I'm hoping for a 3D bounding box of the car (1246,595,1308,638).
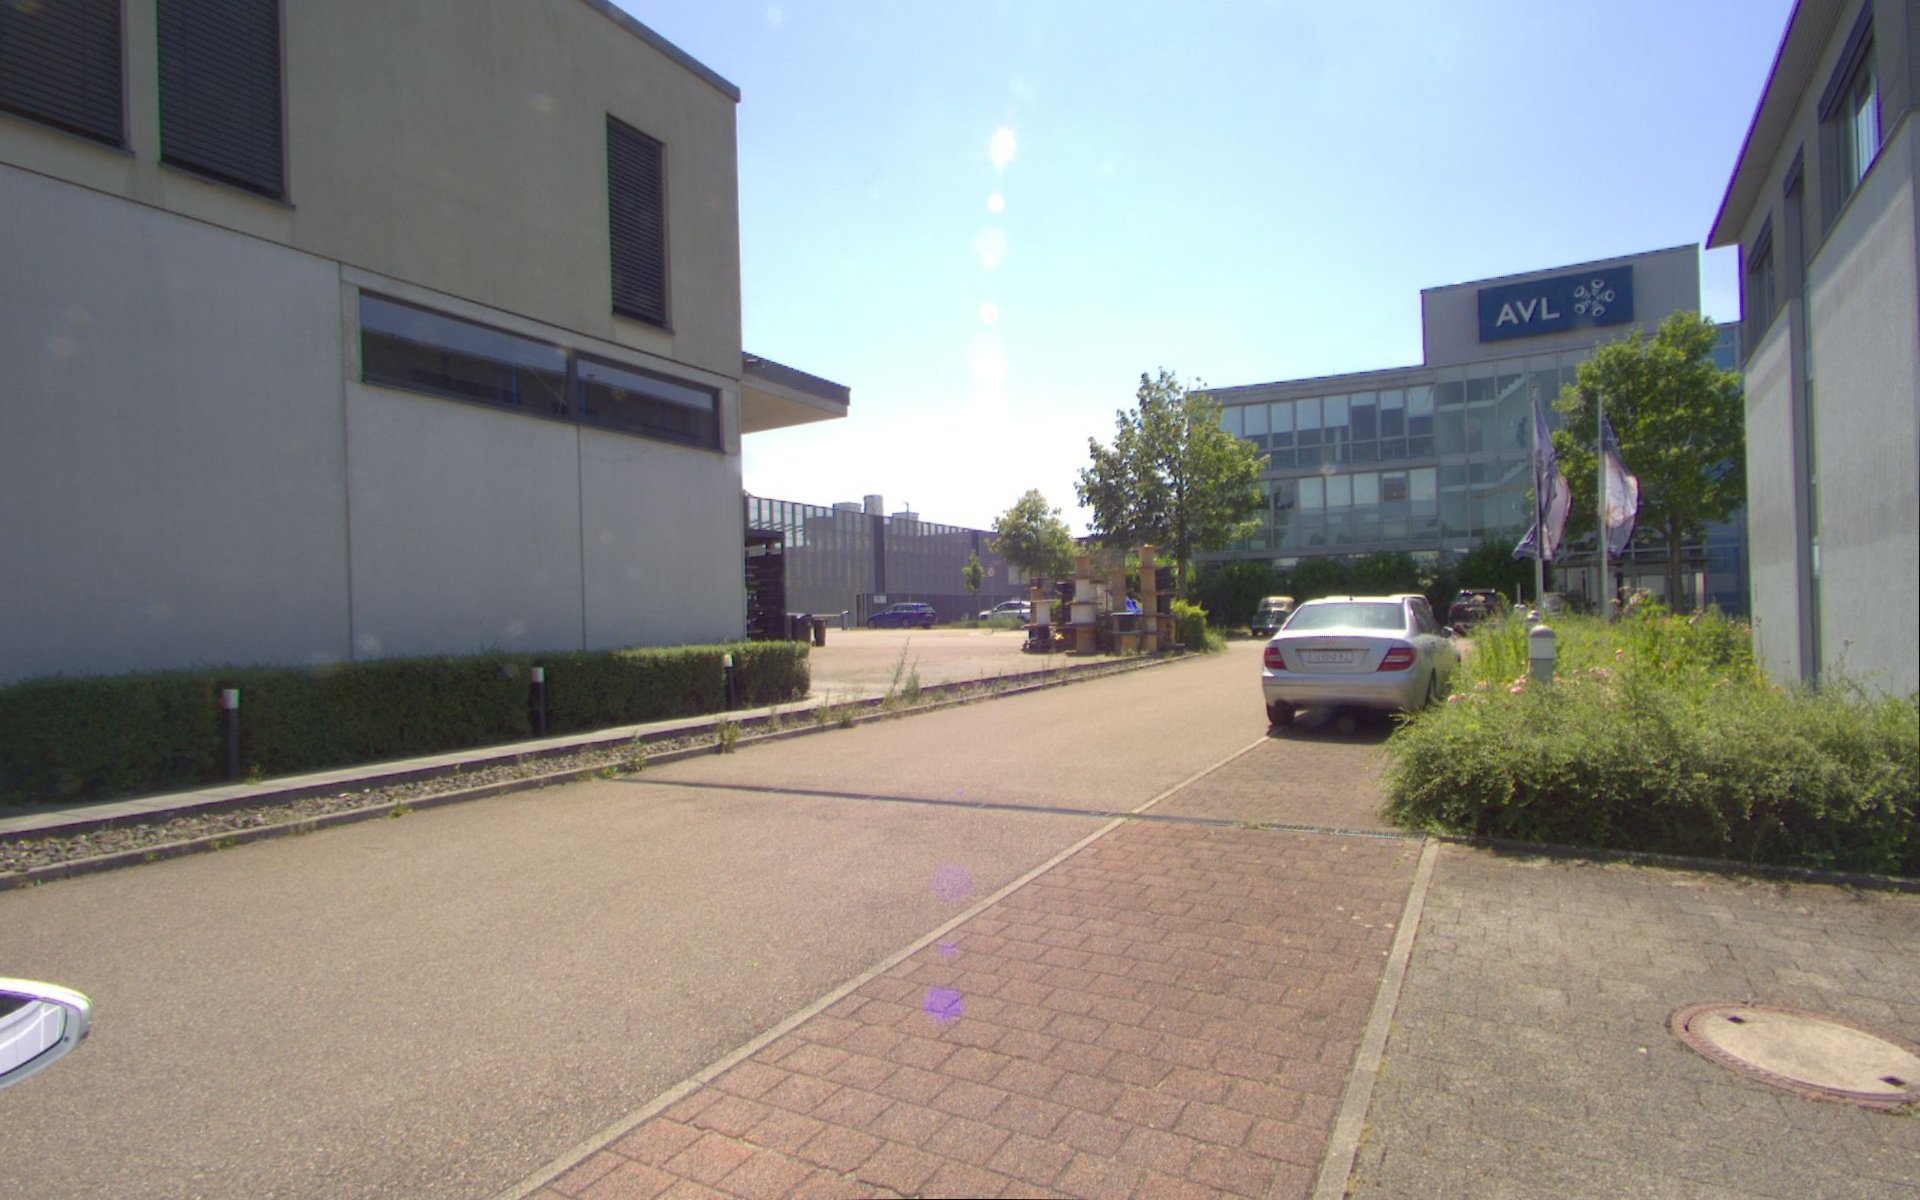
[{"bbox_3d":[12.261,0.643,38.617,1.722,1.538,3.986,-1,-1,26],"label":"car"}]

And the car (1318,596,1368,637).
[{"bbox_3d":[14.438,0.627,37.681,1.646,1.459,3.991,-1,-1,22],"label":"car"}]

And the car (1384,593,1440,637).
[{"bbox_3d":[16.691,0.575,37.120,1.720,1.538,3.991,-1,-1,22],"label":"car"}]

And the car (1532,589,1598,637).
[{"bbox_3d":[20.570,0.471,34.167,1.723,1.538,3.984,-1,-1,29],"label":"car"}]

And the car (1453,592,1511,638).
[{"bbox_3d":[18.562,0.536,35.583,1.723,1.538,3.984,-1,-1,29],"label":"car"}]

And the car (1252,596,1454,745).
[{"bbox_3d":[4.759,0.728,11.837,1.704,1.455,3.700,-1,-1,30],"label":"car"}]

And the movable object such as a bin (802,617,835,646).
[{"bbox_3d":[-4.809,1.070,34.091,0.805,0.993,0.807,-1,-1,29],"label":"movable object such as a bin"}]

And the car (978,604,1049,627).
[{"bbox_3d":[3.388,1.031,63.876,4.399,1.433,1.735,-1,-2,42],"label":"car"}]

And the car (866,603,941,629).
[{"bbox_3d":[-3.241,0.951,56.746,4.401,1.433,1.734,-2,-2,44],"label":"car"}]
